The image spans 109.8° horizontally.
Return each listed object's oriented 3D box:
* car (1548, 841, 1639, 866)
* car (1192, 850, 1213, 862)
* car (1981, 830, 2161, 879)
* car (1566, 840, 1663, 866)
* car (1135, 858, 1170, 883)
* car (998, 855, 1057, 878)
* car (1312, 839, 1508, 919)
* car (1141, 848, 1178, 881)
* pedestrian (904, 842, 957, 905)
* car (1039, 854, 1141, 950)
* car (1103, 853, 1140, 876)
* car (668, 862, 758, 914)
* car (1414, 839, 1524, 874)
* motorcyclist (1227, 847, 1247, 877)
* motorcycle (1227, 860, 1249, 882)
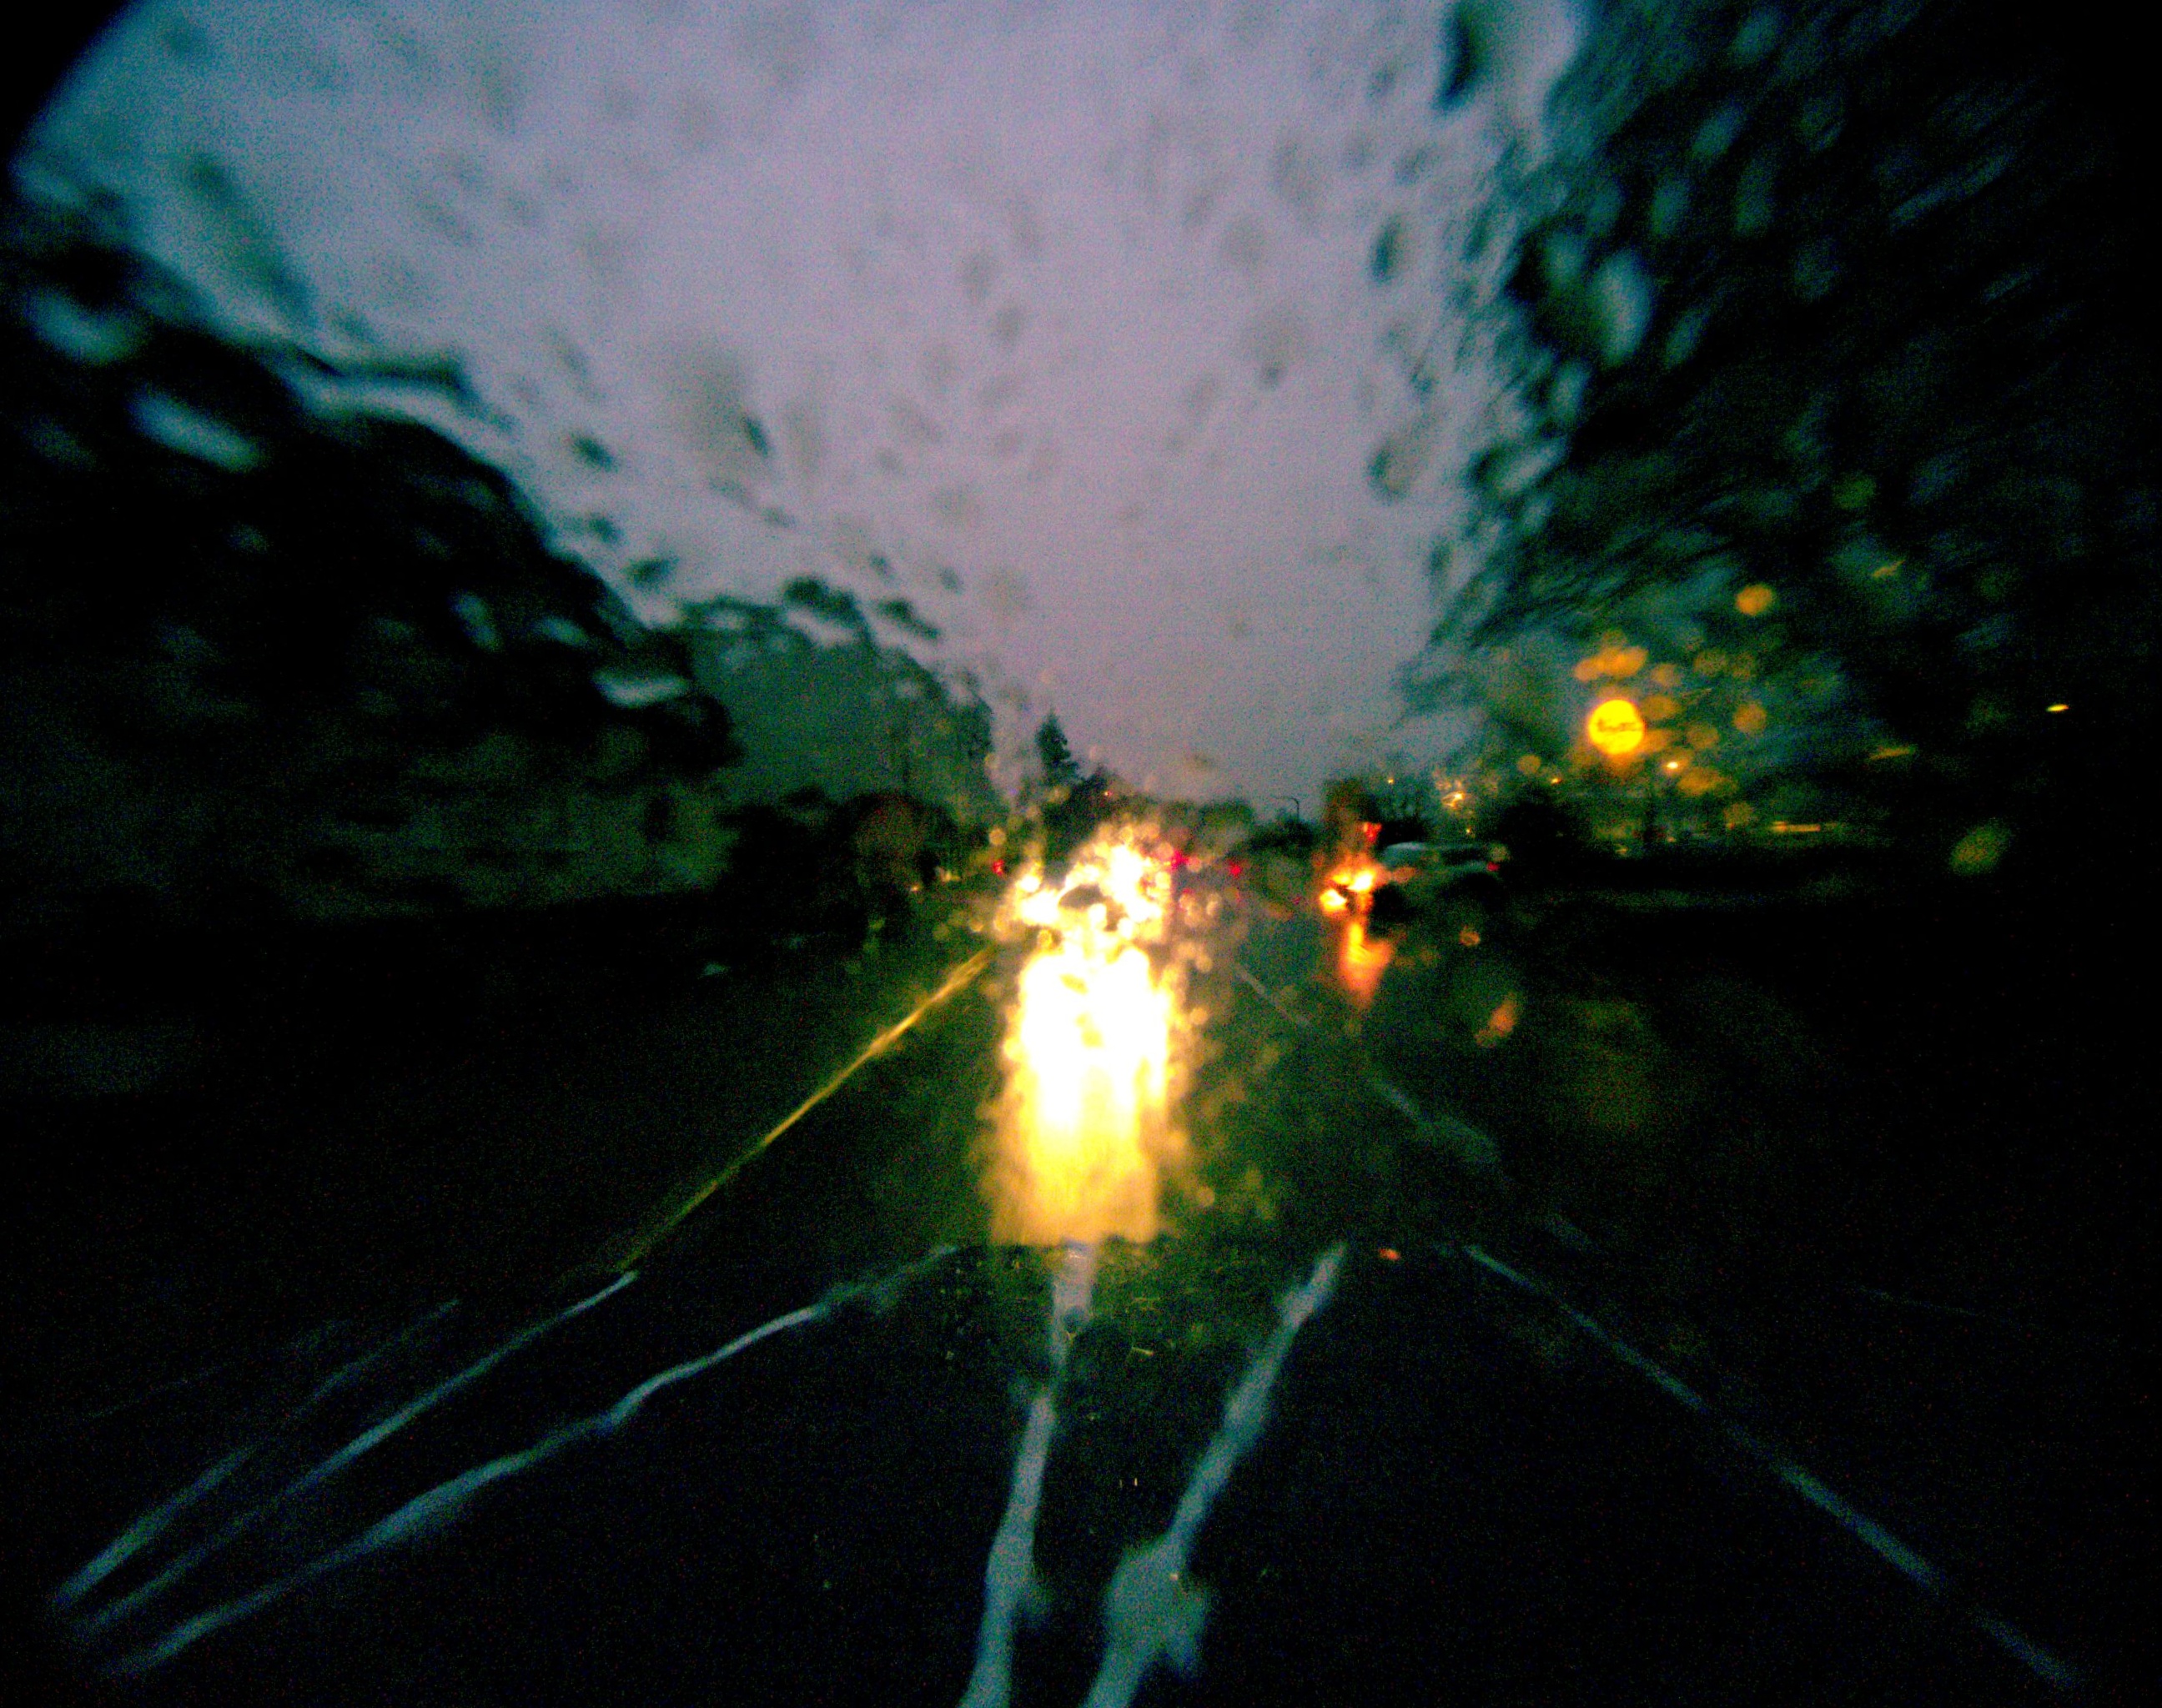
[{"bbox_3d":[32.134,-0.023,47.730,4.443,1.554,2.055,0,-1,-5],"label":"car"},{"bbox_3d":[14.969,0.241,93.611,1.773,1.422,3.802,-2,-1,20],"label":"car"},{"bbox_3d":[32.799,0.034,24.919,4.443,1.554,2.055,0,-1,-5],"label":"car"},{"bbox_3d":[31.882,-0.040,45.477,4.443,1.554,2.055,0,-1,-5],"label":"car"},{"bbox_3d":[4.832,1.092,50.962,1.665,1.477,4.004,-1,1,15],"label":"car"},{"bbox_3d":[-3.988,0.933,57.009,4.181,1.432,1.798,-4,-1,1],"label":"car"},{"bbox_3d":[8.510,0.619,19.899,4.238,1.689,1.899,-4,1,-4],"label":"car"},{"bbox_3d":[4.429,0.527,42.284,1.774,1.713,4.424,-1,0,9],"label":"car"},{"bbox_3d":[-4.548,0.578,23.102,1.257,1.855,1.303,1,1,4],"label":"pedestrian"},{"bbox_3d":[0.169,0.855,15.661,1.776,1.632,4.421,-1,0,0],"label":"car"},{"bbox_3d":[2.897,0.724,53.686,1.997,1.464,4.003,-2,0,12],"label":"car"},{"bbox_3d":[-11.293,0.977,23.599,1.882,1.251,4.163,-1,2,-17],"label":"car"},{"bbox_3d":[20.248,0.119,39.786,4.784,1.702,2.032,-1,0,-6],"label":"car"},{"bbox_3d":[7.982,0.424,38.813,0.867,1.477,0.909,-2,1,5],"label":"motorcyclist"},{"bbox_3d":[7.982,0.842,38.729,0.867,1.018,2.110,-2,1,6],"label":"motorcycle"}]
